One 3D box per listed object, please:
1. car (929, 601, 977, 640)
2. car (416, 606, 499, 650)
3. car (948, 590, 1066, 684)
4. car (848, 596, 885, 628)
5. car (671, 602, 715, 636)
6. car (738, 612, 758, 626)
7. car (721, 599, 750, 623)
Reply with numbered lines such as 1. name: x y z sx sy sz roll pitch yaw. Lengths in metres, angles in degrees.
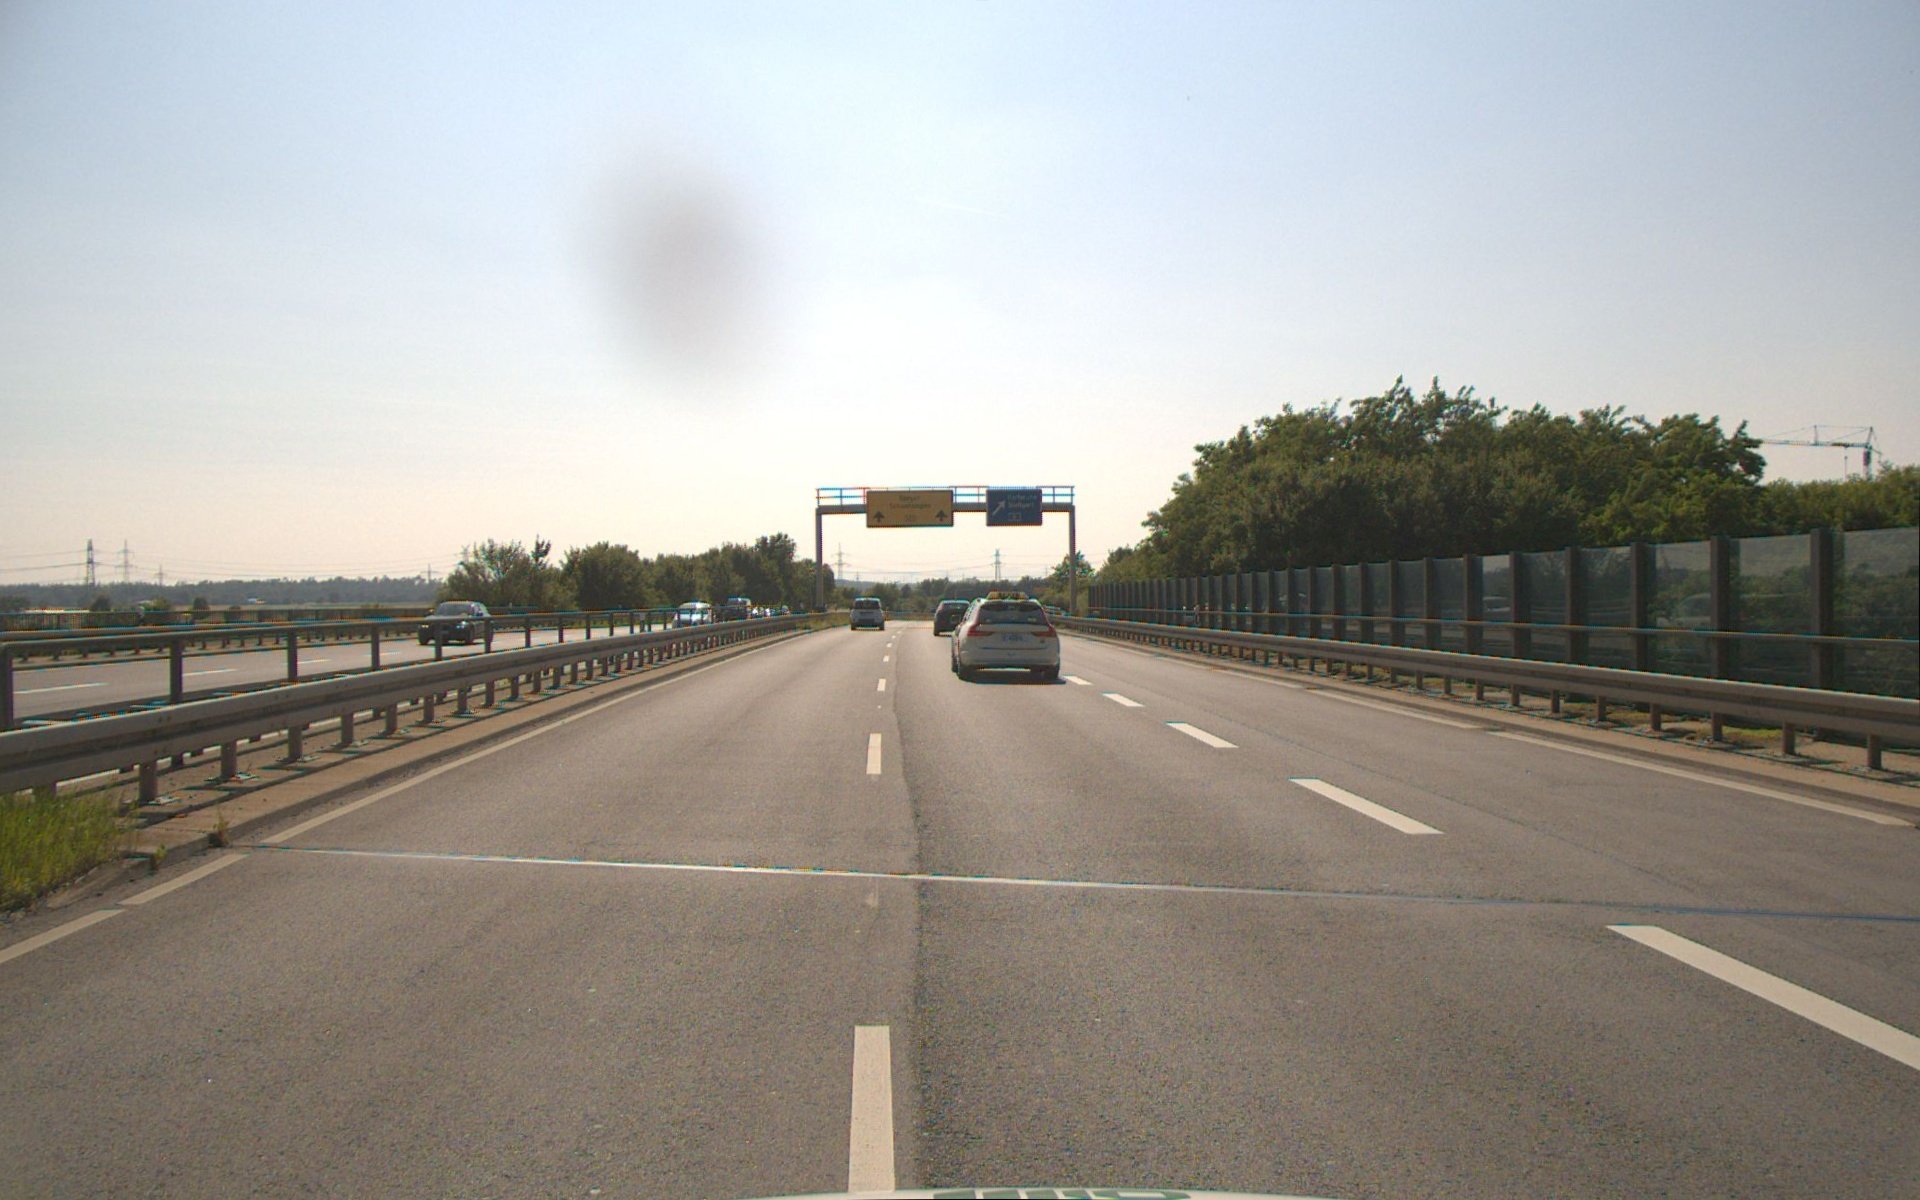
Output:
1. car: -0.308 0.840 67.908 1.757 1.570 3.669 0 -1 -3
2. car: -17.306 0.938 57.095 1.744 1.408 3.998 1 0 -2
3. car: 0.821 0.640 31.233 1.919 1.629 4.105 1 0 -3
4. car: -4.570 0.613 81.369 1.757 1.529 4.041 0 -1 -2
5. car: -11.873 0.819 73.703 1.521 1.441 3.667 1 0 -3
6. car: -19.464 1.735 152.045 1.535 1.292 3.713 0 0 -3
7. car: -18.745 0.893 138.260 1.953 1.939 4.416 0 0 -1
